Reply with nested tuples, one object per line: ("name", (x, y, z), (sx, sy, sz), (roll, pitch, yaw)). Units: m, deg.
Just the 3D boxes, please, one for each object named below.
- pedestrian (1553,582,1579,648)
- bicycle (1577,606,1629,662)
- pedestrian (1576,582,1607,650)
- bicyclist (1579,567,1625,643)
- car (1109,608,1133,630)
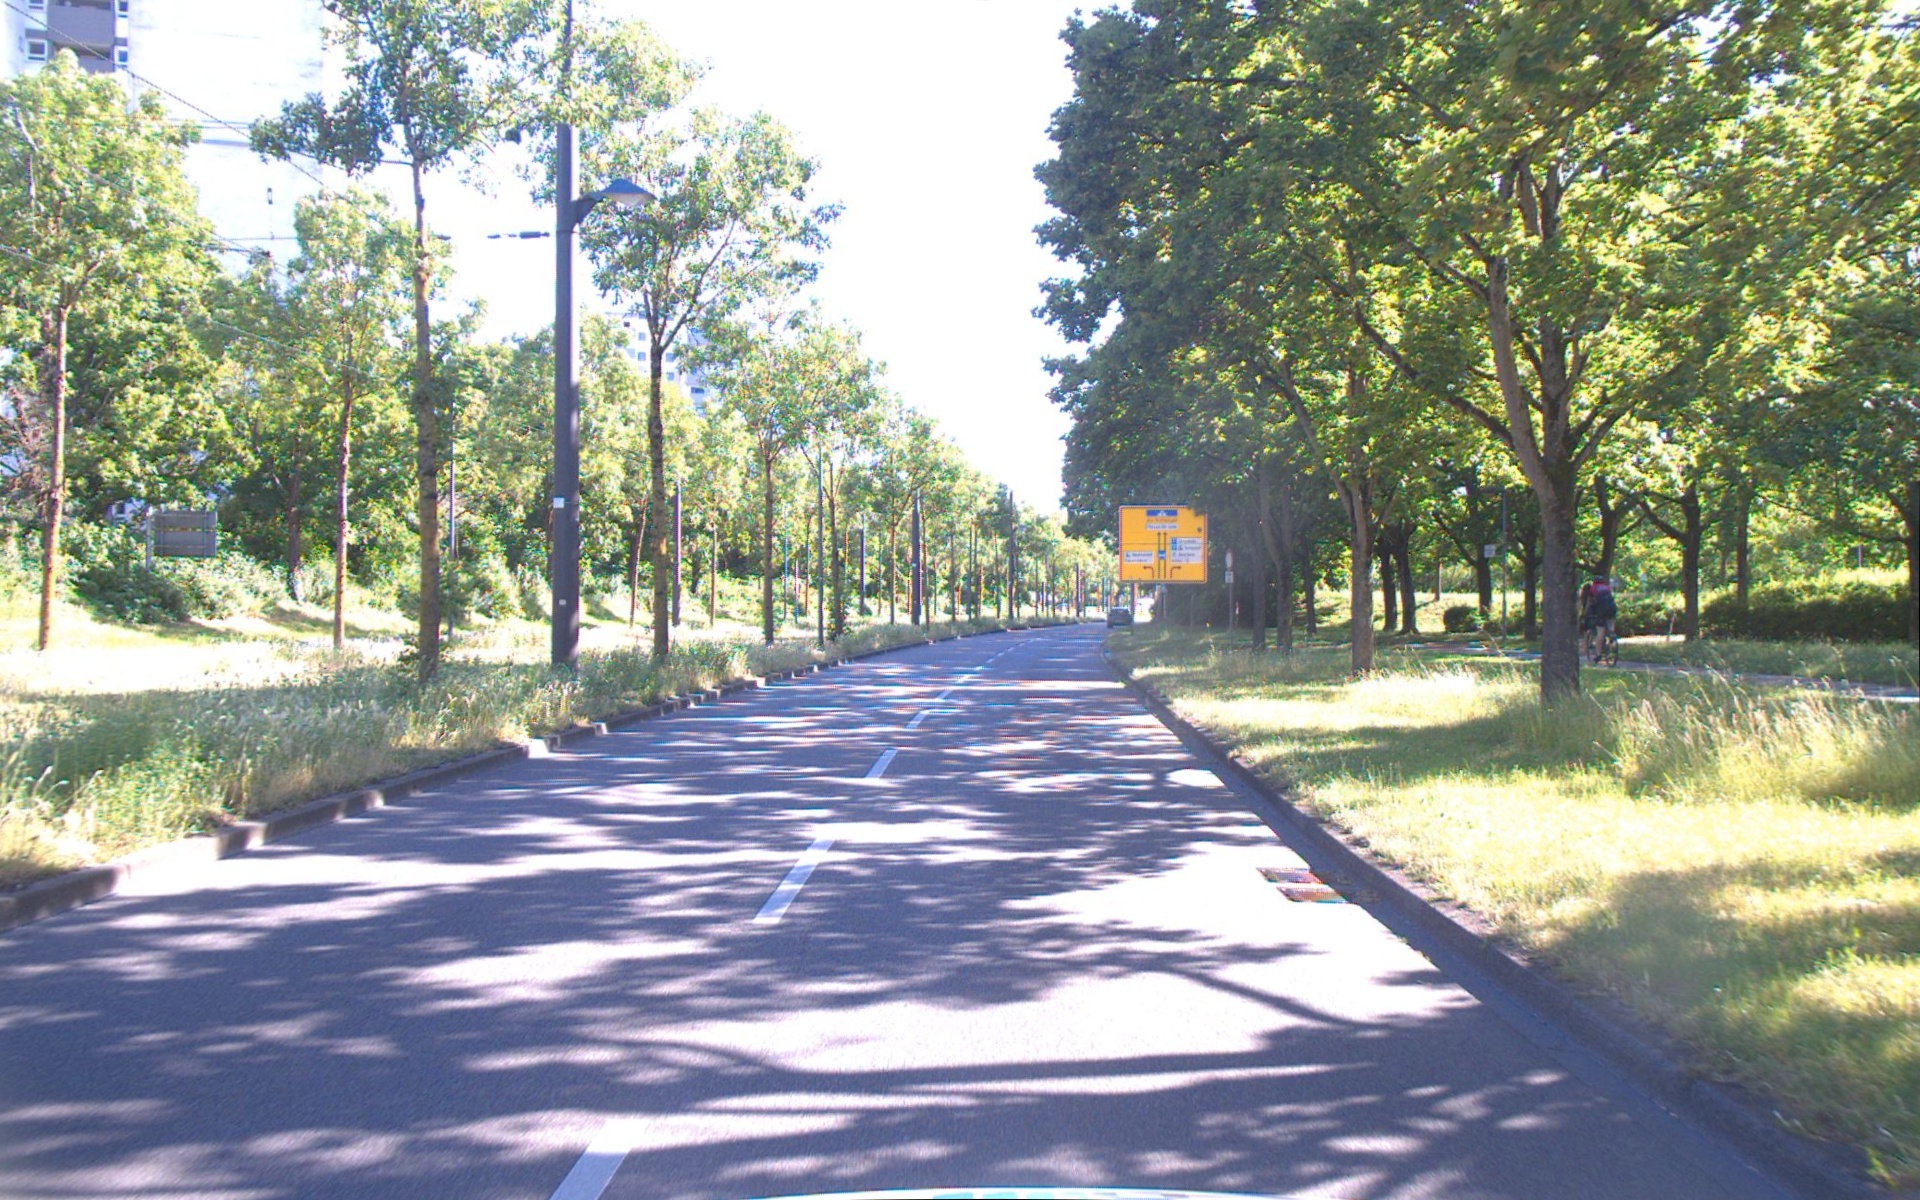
("pedestrian", (15.508, 0.382, 42.334), (0.535, 1.650, 0.844), (0, -1, 14))
("bicycle", (12.575, 0.648, 32.390), (0.777, 1.065, 2.144), (-1, 0, 17))
("pedestrian", (16.100, 0.411, 42.149), (0.622, 1.721, 0.844), (0, -1, 14))
("bicyclist", (12.570, 0.101, 32.404), (0.773, 1.476, 0.845), (-1, 0, 17))
("car", (11.753, 1.357, 120.698), (1.599, 1.524, 4.238), (1, 0, 7))
